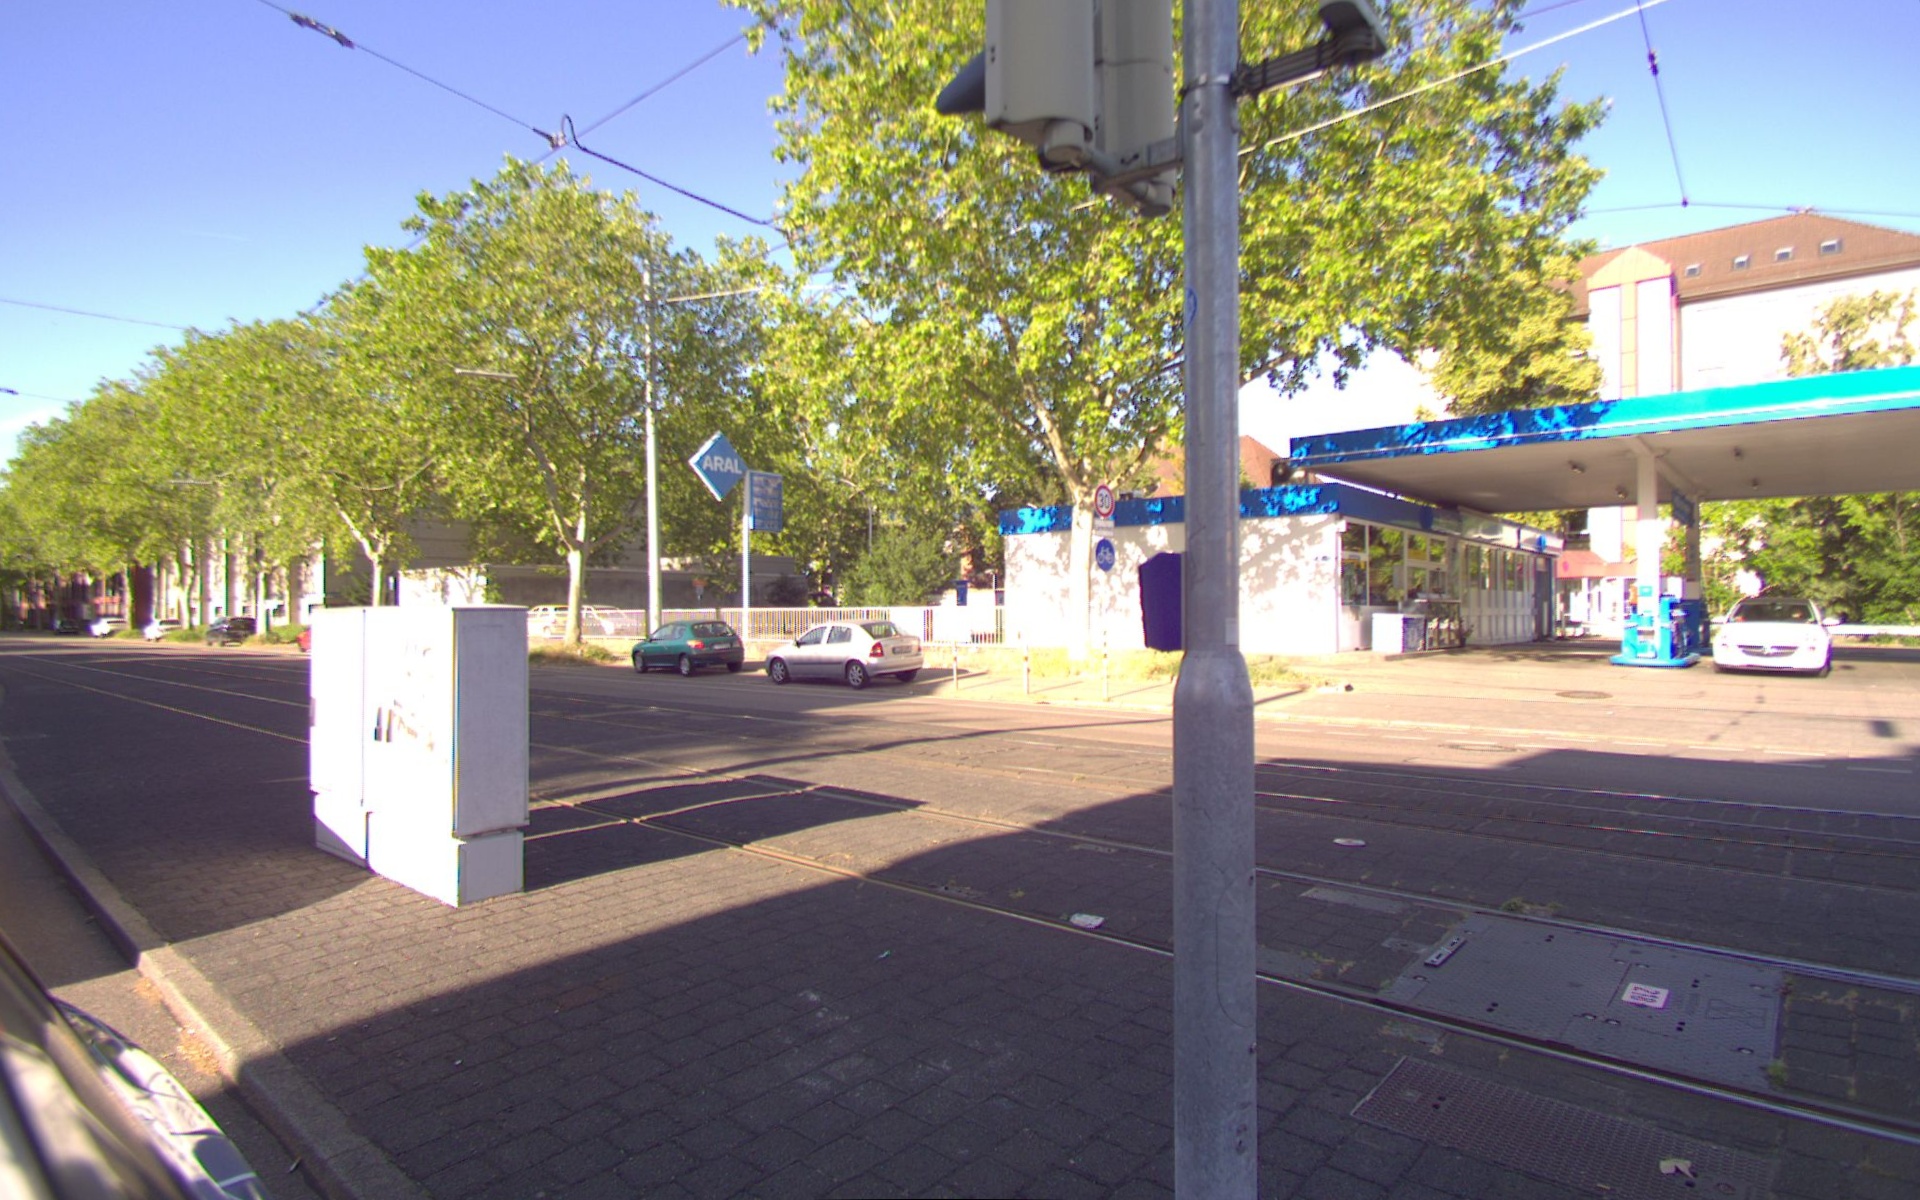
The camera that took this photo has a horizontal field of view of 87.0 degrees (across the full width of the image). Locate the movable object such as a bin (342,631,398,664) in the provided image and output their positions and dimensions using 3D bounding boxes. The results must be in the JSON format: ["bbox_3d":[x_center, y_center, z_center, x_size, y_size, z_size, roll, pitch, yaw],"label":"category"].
[{"bbox_3d":[-20.920,1.664,35.862,1.833,1.111,1.163,-1,0,40],"label":"movable object such as a bin"}]

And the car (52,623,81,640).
[{"bbox_3d":[-85.039,2.998,96.327,3.731,1.471,1.639,-1,2,43],"label":"car"}]

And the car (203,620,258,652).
[{"bbox_3d":[-40.730,1.976,56.496,3.878,1.603,1.731,-1,2,43],"label":"car"}]

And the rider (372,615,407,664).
[{"bbox_3d":[-19.772,1.366,35.061,1.105,1.660,0.716,-1,0,40],"label":"rider"}]

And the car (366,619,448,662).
[{"bbox_3d":[-21.820,1.560,39.878,3.769,1.455,1.701,-1,2,43],"label":"car"}]

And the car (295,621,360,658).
[{"bbox_3d":[-28.711,1.756,45.923,3.377,1.506,1.639,-1,2,43],"label":"car"}]

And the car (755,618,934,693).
[{"bbox_3d":[-2.632,1.183,22.594,3.987,1.376,1.666,-2,3,41],"label":"car"}]

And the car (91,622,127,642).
[{"bbox_3d":[-66.791,2.489,79.408,3.731,1.471,1.639,-1,2,43],"label":"car"}]

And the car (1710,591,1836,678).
[{"bbox_3d":[15.883,0.599,19.705,1.743,1.446,3.882,-1,1,41],"label":"car"}]

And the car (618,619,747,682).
[{"bbox_3d":[-7.434,1.292,26.966,3.606,1.455,1.598,-1,2,43],"label":"car"}]

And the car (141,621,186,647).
[{"bbox_3d":[-53.704,2.275,68.241,3.878,1.552,1.731,-1,2,43],"label":"car"}]
